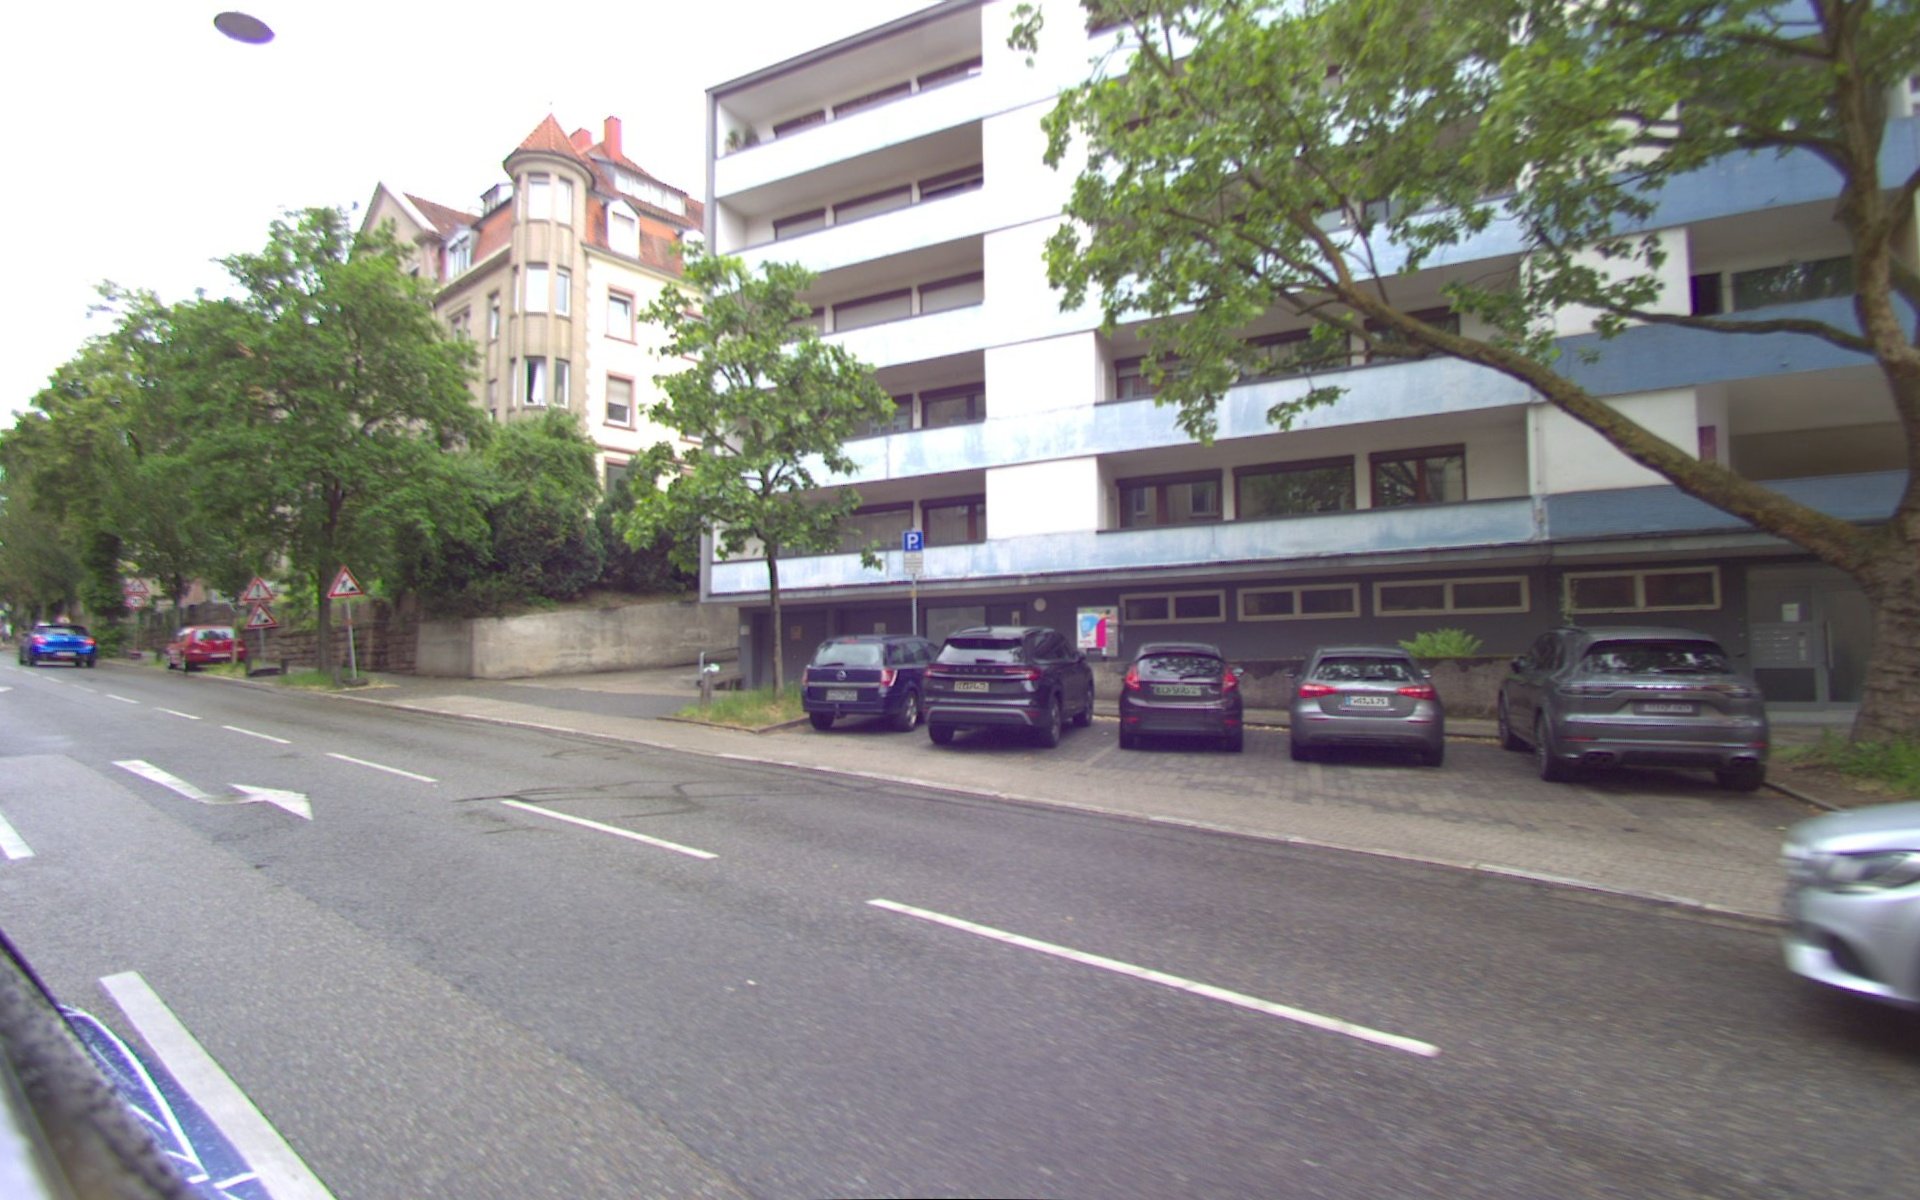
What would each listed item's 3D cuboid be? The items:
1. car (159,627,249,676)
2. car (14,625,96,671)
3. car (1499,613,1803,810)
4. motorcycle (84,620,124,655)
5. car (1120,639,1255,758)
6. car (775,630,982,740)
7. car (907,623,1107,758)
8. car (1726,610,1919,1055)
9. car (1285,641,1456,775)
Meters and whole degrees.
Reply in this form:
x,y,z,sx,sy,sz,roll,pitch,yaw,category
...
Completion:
x,y,z,sx,sy,sz,roll,pitch,yaw,category
-24.781,1.641,33.121,4.063,1.462,1.596,-1,-2,42,car
-30.893,1.588,34.505,3.742,1.462,1.696,-1,-2,42,car
7.661,1.097,11.750,1.926,1.797,4.339,0,-2,21,car
-37.010,1.615,43.737,3.058,1.425,0.792,-2,-1,39,motorcycle
3.461,1.322,14.910,1.683,1.441,3.972,0,-2,16,car
-1.211,1.314,17.213,1.928,1.586,4.342,0,-2,19,car
0.873,1.213,15.149,1.841,1.685,4.351,0,-2,19,car
5.188,0.853,3.062,4.470,1.538,1.719,-1,-5,41,car
5.320,1.309,13.560,1.732,1.441,3.913,0,-2,16,car
